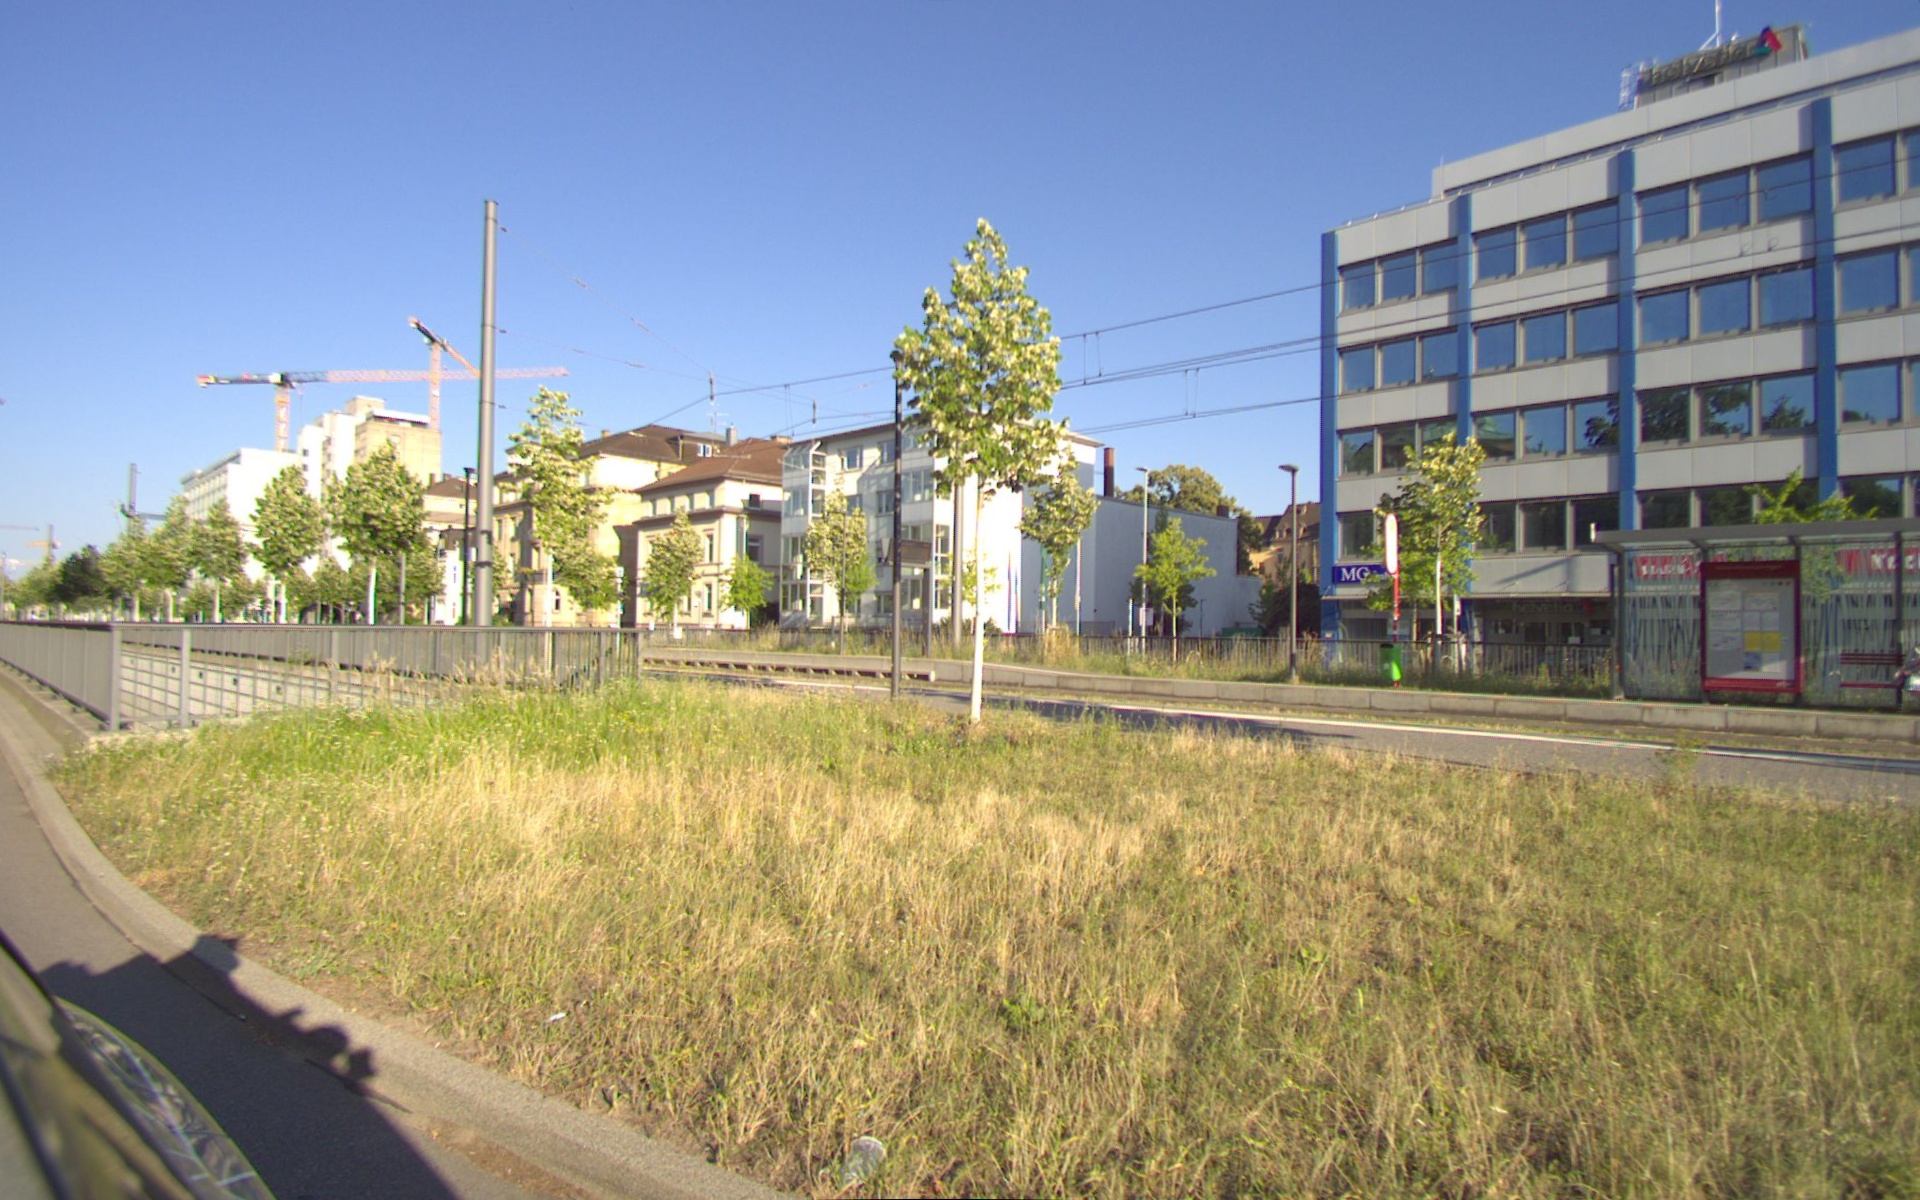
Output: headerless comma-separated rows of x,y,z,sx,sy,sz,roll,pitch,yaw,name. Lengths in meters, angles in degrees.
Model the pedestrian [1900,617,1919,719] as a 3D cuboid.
13.861,0.963,14.303,0.804,1.421,0.829,-2,-3,43,pedestrian
